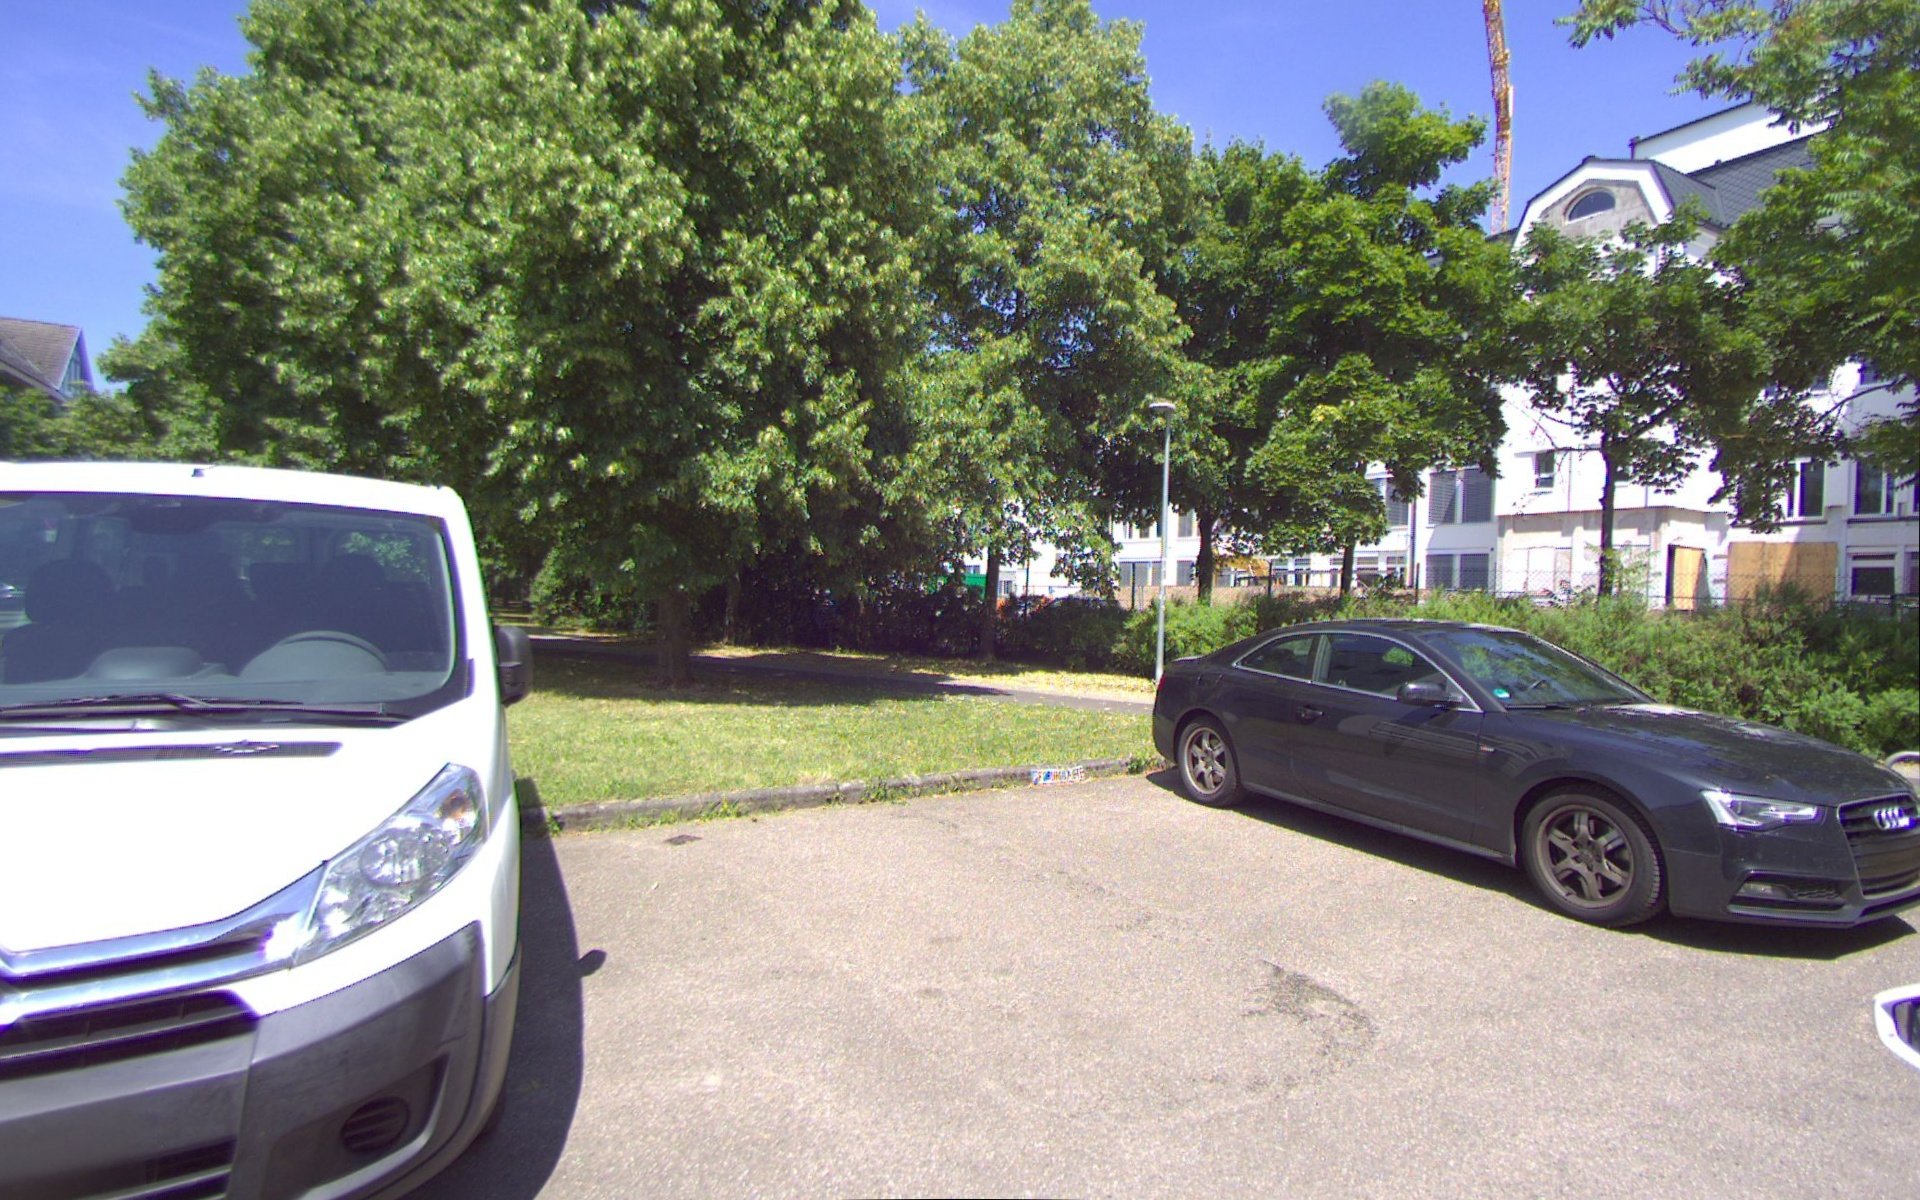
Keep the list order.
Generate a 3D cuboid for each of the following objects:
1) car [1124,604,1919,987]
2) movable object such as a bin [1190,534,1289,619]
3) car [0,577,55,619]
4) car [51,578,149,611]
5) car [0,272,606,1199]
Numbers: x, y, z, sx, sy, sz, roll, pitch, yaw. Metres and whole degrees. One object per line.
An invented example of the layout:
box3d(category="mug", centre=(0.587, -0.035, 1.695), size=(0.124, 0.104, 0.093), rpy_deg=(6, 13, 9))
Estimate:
box3d(category="car", centre=(3.166, 0.800, 6.301), size=(1.998, 1.398, 4.413), rpy_deg=(2, 0, -26))
box3d(category="movable object such as a bin", centre=(15.459, -1.282, 55.940), size=(1.973, 4.430, 5.687), rpy_deg=(2, 0, -25))
box3d(category="car", centre=(-39.354, -0.089, 42.219), size=(1.796, 1.624, 3.843), rpy_deg=(3, 0, -44))
box3d(category="car", centre=(-47.831, -0.285, 55.955), size=(3.851, 1.652, 1.521), rpy_deg=(3, 0, -32))
box3d(category="car", centre=(-2.712, 0.402, 3.686), size=(2.041, 1.908, 4.830), rpy_deg=(2, 0, -26))
